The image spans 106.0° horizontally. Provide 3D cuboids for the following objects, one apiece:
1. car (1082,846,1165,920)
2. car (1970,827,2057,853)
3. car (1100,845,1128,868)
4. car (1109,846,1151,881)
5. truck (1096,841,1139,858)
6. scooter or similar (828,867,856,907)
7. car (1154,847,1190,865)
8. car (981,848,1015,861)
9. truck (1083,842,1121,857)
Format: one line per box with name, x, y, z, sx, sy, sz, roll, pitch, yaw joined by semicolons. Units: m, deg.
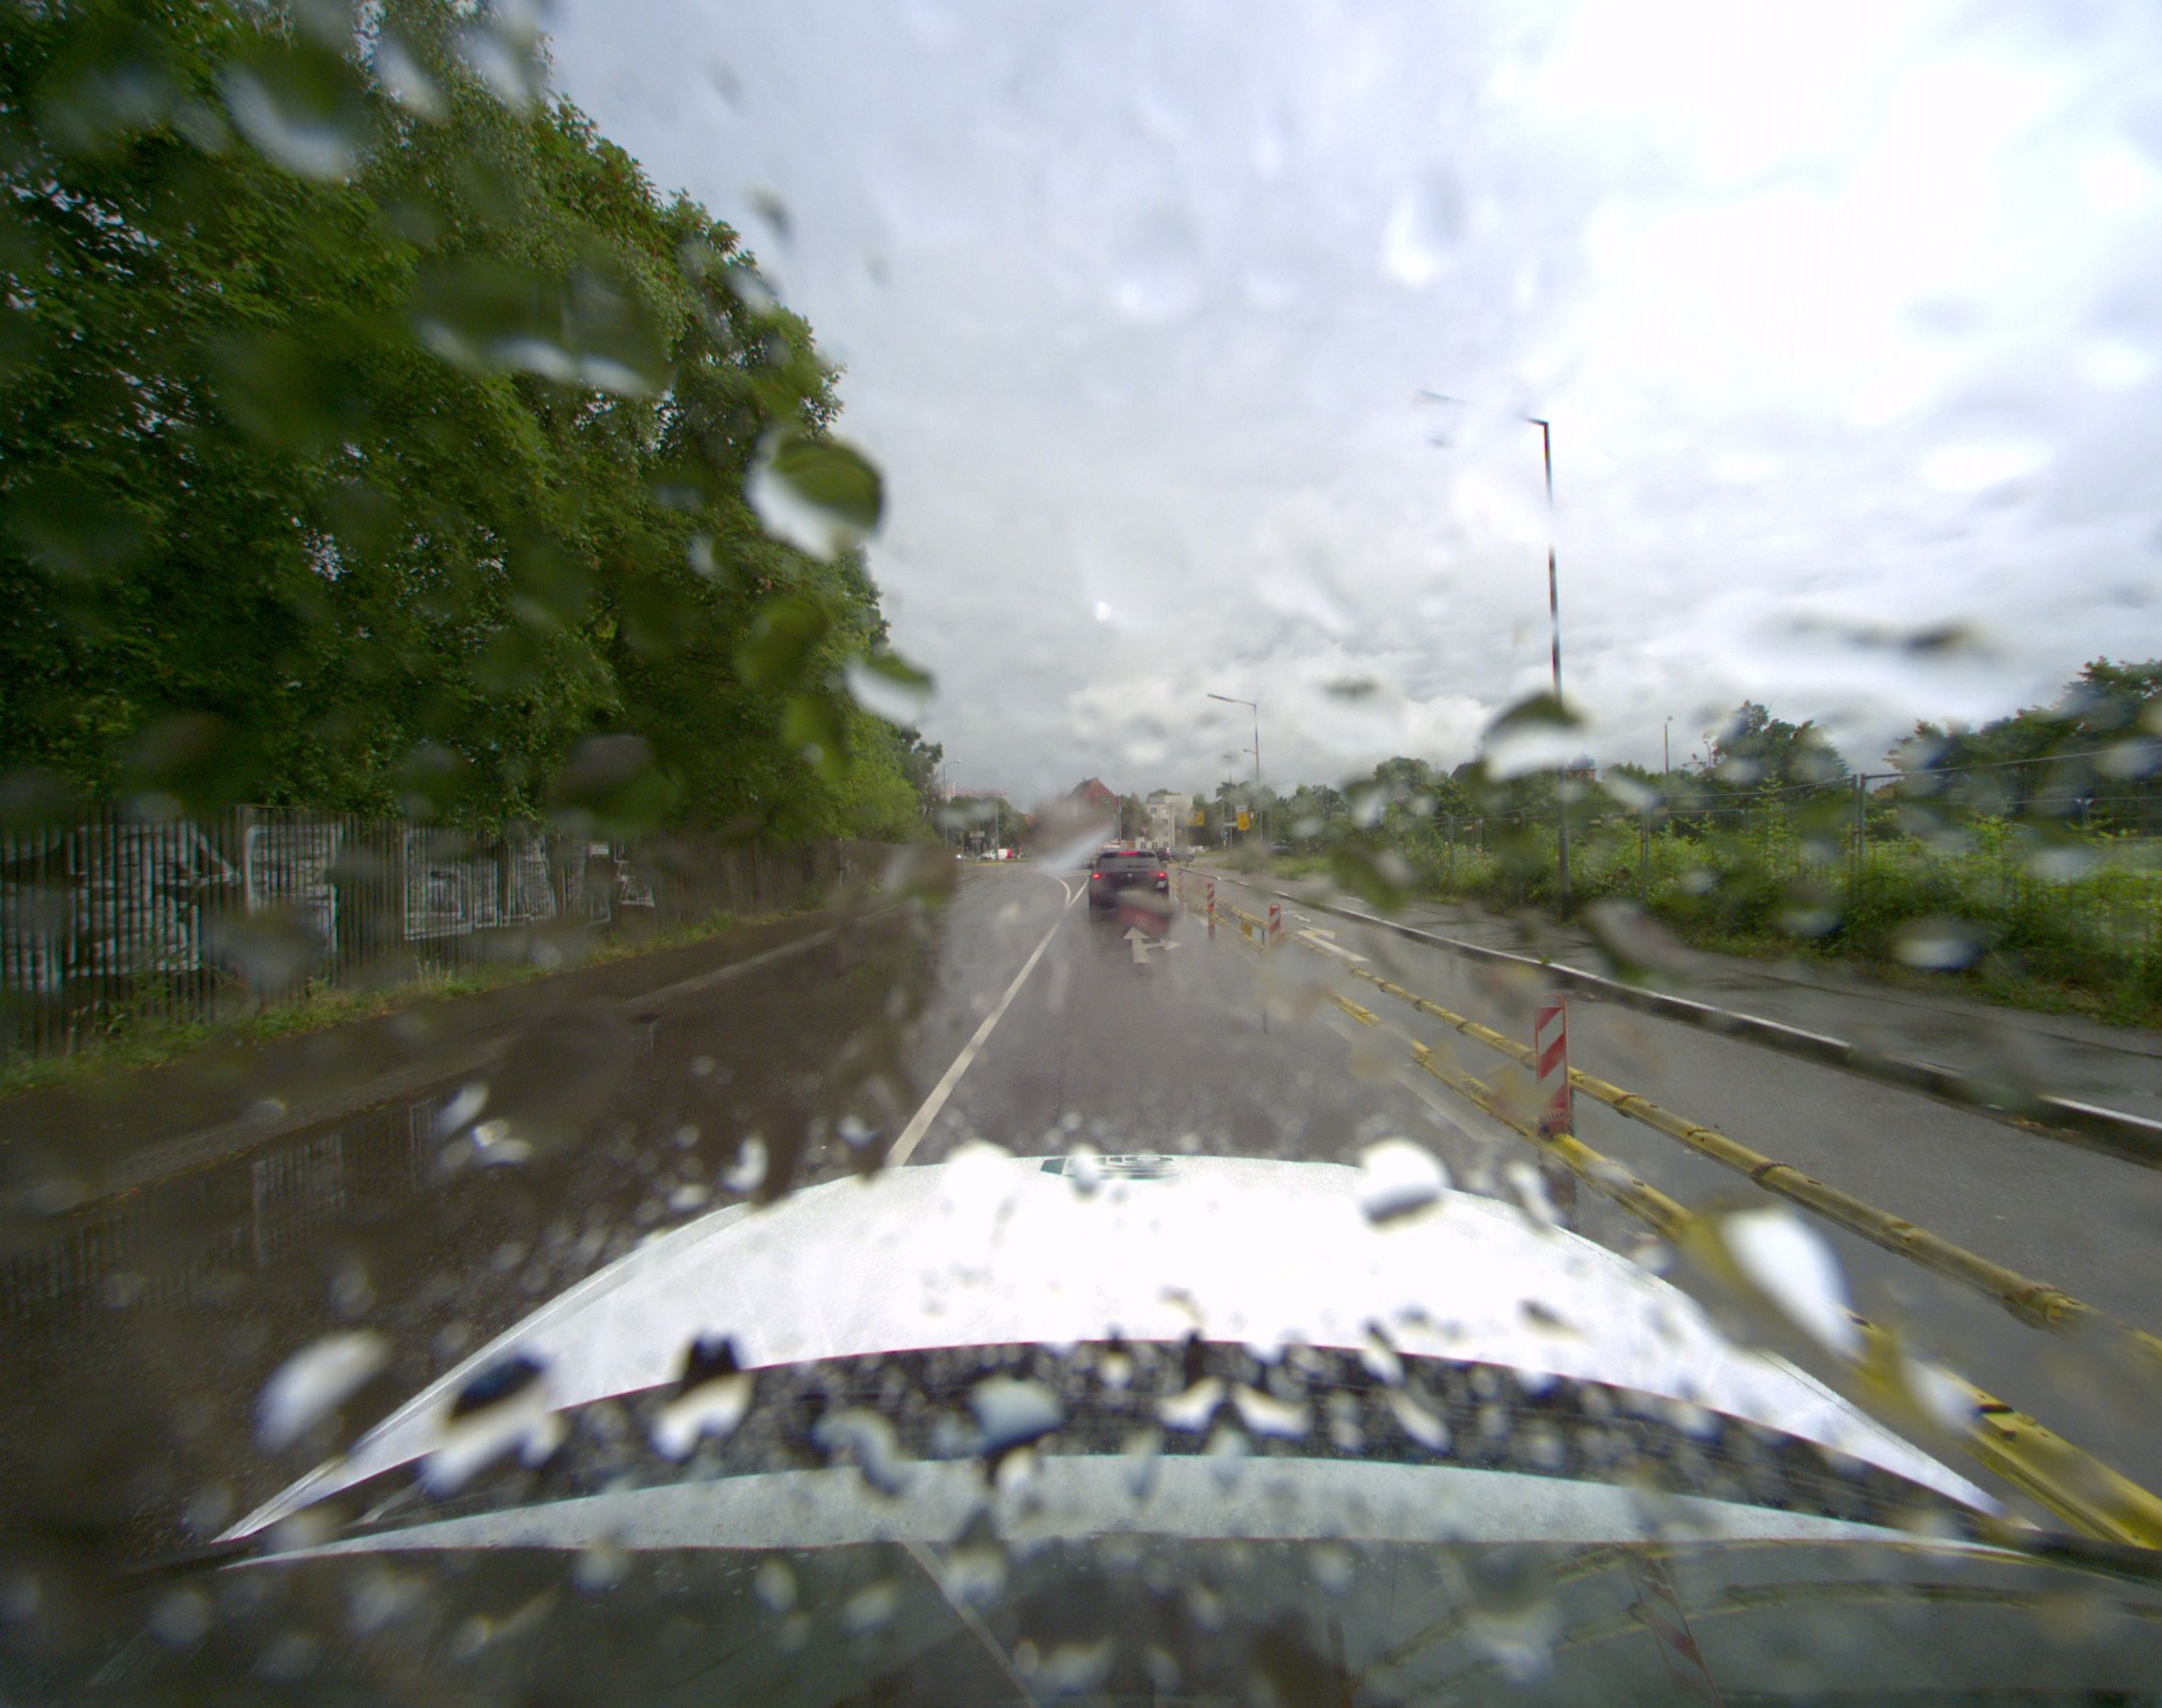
car;0.912;0.623;19.278;1.703;1.574;3.681;-1;0;-1
car;59.947;-0.880;52.451;3.484;1.546;1.641;-2;0;42
car;2.678;0.190;65.856;1.854;1.809;4.413;-1;0;7
car;2.262;0.404;38.365;1.730;1.514;3.603;-1;0;0
truck;6.187;-0.731;137.027;7.036;2.650;2.332;-1;0;3
scooter or similar;-7.309;0.998;24.901;0.561;1.162;1.206;-2;0;-5
car;8.976;0.202;80.151;1.649;1.644;3.980;-1;0;36
car;-13.095;0.117;129.086;5.161;1.876;1.871;-2;0;-42
truck;3.771;-0.767;145.652;6.683;2.442;2.433;-2;0;-2
